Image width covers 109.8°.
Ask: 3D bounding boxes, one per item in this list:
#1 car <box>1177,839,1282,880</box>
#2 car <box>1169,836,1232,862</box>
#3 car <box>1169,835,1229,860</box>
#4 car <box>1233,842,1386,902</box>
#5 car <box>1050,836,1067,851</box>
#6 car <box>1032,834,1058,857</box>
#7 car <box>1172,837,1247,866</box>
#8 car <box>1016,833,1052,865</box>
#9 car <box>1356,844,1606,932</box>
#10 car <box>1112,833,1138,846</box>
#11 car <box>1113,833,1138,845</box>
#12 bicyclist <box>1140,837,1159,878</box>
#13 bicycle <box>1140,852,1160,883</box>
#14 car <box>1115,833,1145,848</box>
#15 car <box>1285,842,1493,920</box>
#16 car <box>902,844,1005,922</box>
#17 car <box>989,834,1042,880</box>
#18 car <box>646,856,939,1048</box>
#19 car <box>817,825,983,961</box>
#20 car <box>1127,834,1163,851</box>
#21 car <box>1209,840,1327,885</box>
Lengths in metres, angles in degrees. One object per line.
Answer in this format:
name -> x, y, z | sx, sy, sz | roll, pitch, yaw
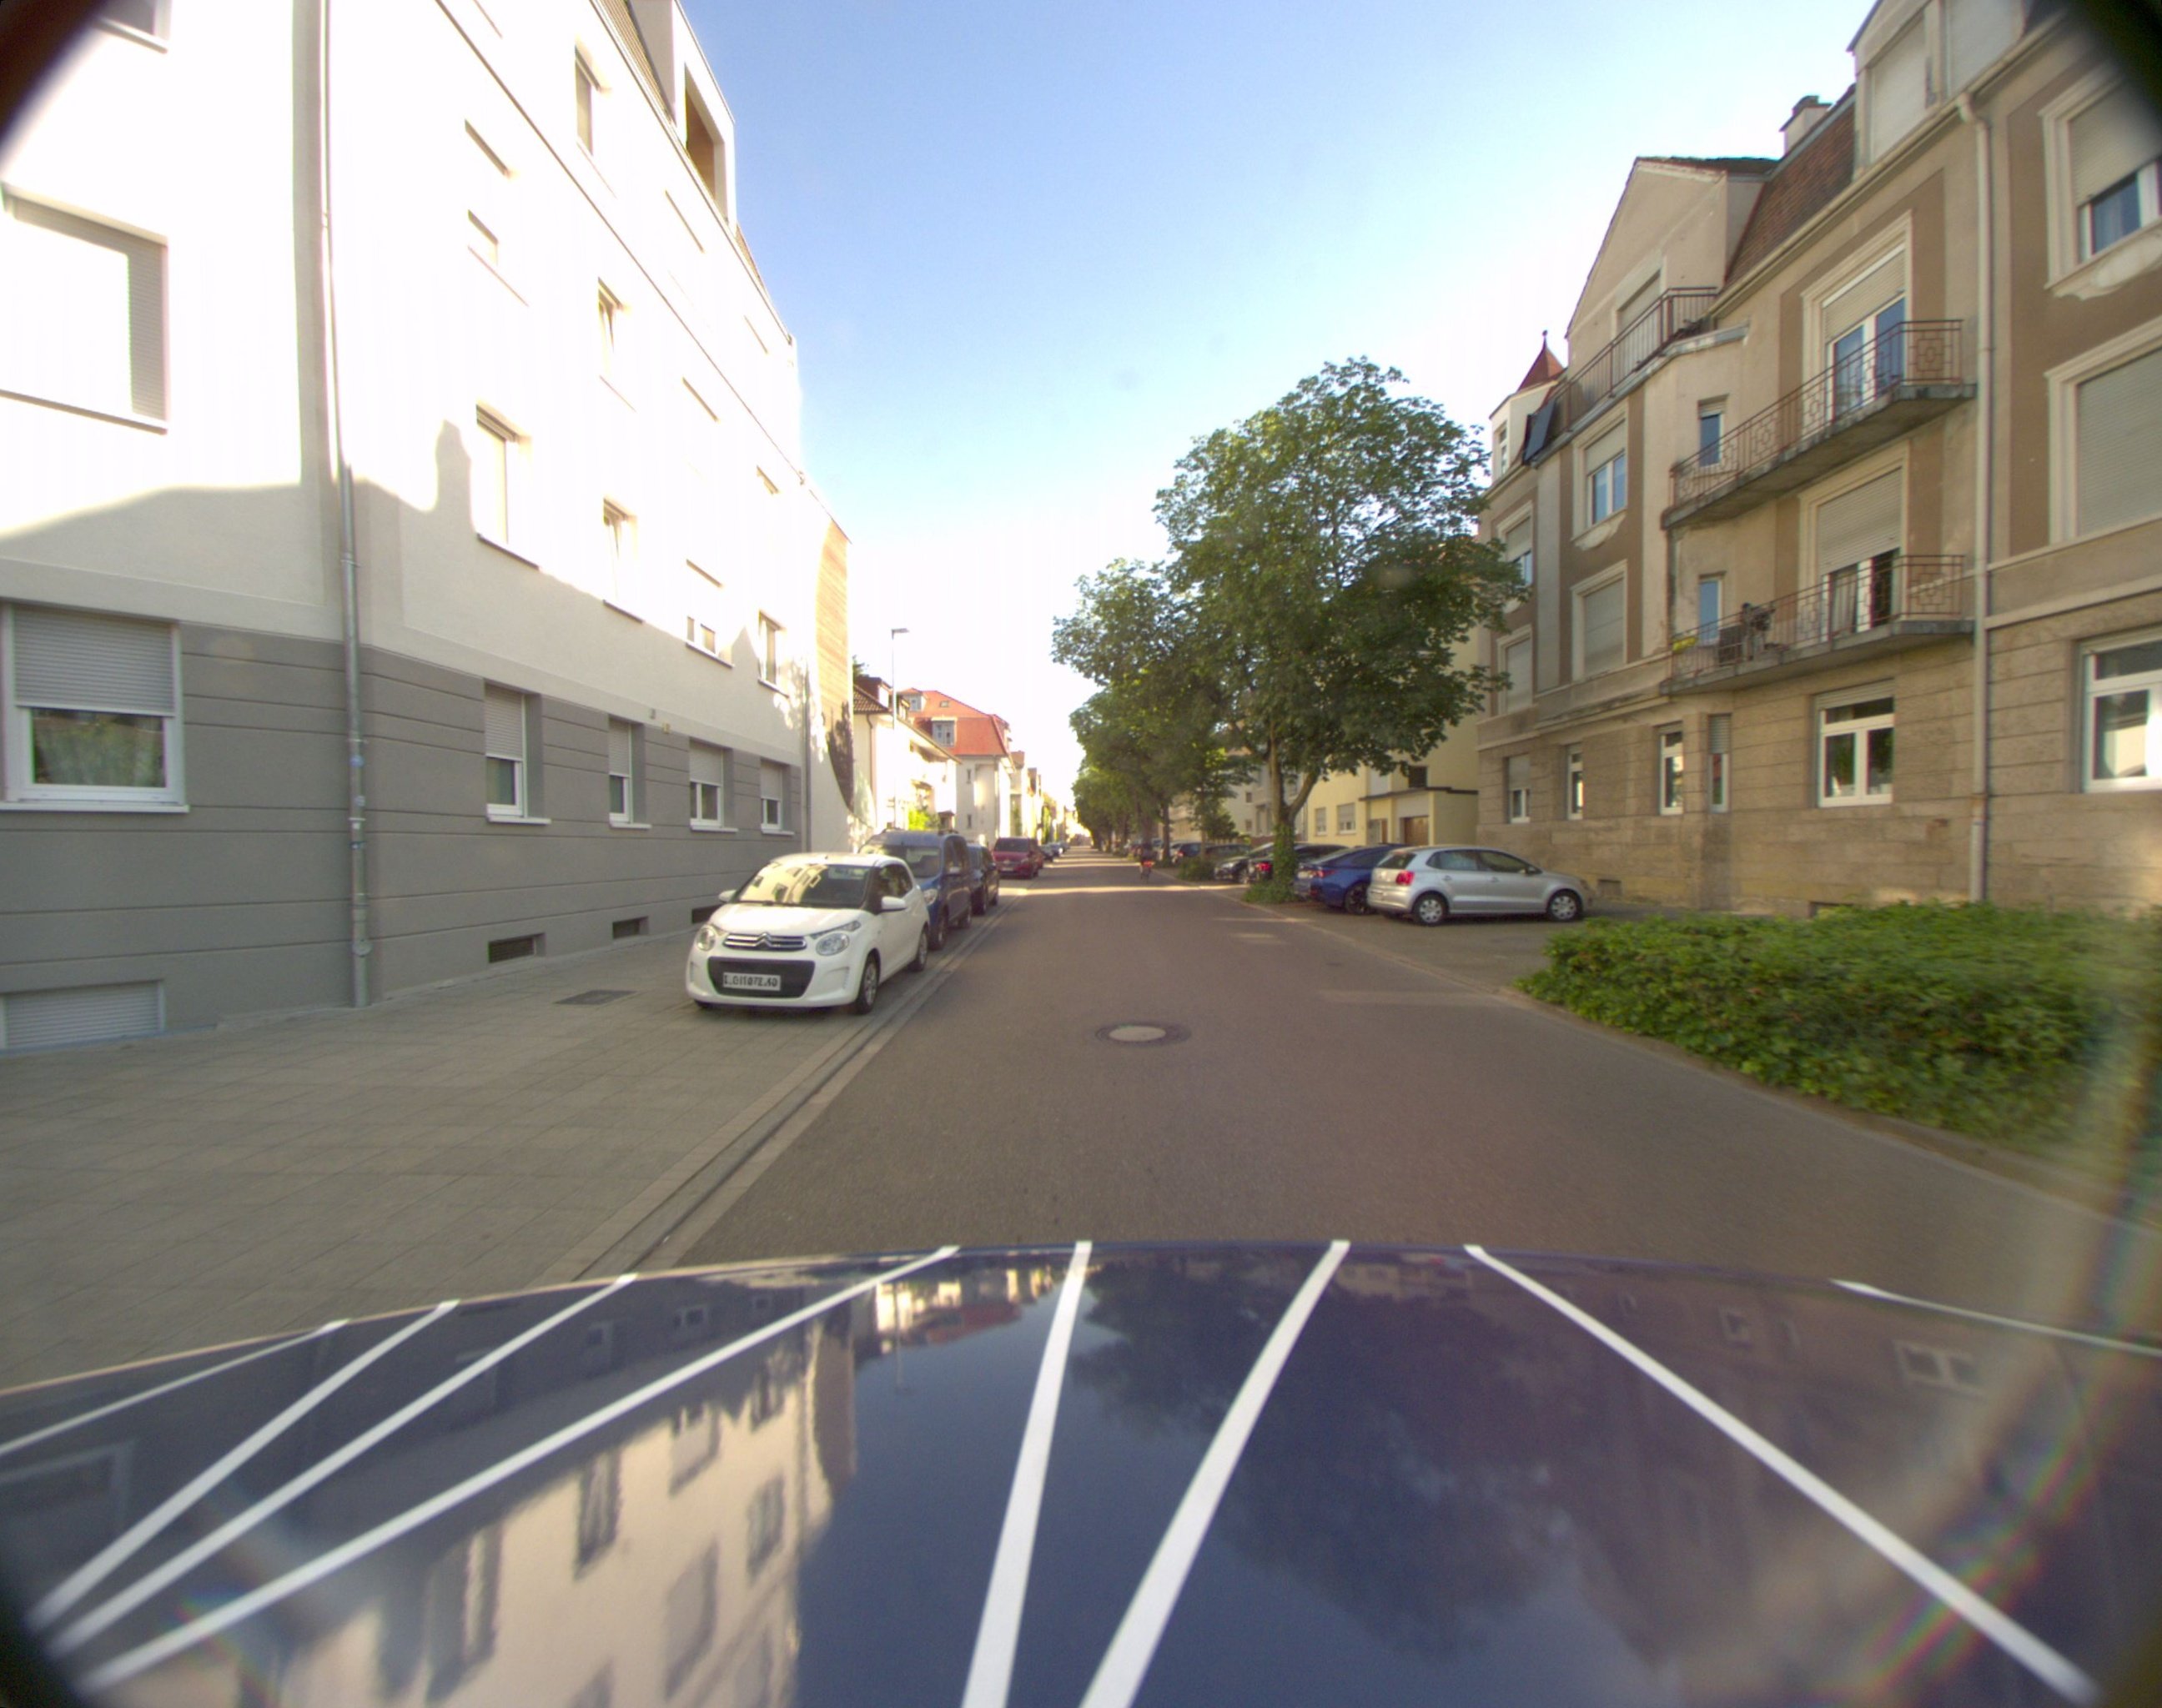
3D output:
car -> 5.972, 0.202, 30.684 | 3.792, 1.486, 1.690 | -2, 1, -13
car -> 7.327, -0.330, 46.910 | 3.529, 1.486, 1.691 | -2, 1, -5
car -> 7.681, -0.439, 49.613 | 3.529, 1.486, 1.691 | -2, 1, -5
car -> 6.416, 0.463, 21.435 | 3.792, 1.486, 1.690 | -2, 1, -13
car -> -2.677, -1.268, 90.183 | 1.884, 1.734, 4.401 | 0, 1, 0
car -> -2.973, -0.708, 63.777 | 1.884, 1.861, 4.401 | 0, 1, 0
car -> 7.101, -0.167, 42.322 | 3.790, 1.486, 1.691 | -2, 1, -5
car -> -2.965, -0.355, 48.552 | 1.884, 1.861, 4.400 | 2, 1, 0
car -> 7.338, 0.575, 14.162 | 3.789, 1.436, 1.691 | -1, 1, -3
car -> 6.185, -2.102, 107.864 | 3.528, 1.693, 1.691 | -1, 1, -2
car -> 6.539, -2.249, 112.860 | 3.528, 1.693, 1.691 | -1, 1, -2
bicyclist -> 2.629, 0.131, 29.298 | 0.644, 1.557, 1.042 | 0, 1, 1
bicycle -> 2.643, 0.492, 29.291 | 0.644, 1.102, 2.065 | 0, 1, 1
car -> 6.076, -1.674, 94.346 | 3.528, 1.693, 1.691 | -1, 1, -2
car -> 6.523, 0.529, 16.340 | 3.789, 1.486, 1.691 | -1, 1, -3
car -> -2.869, 0.584, 17.960 | 1.665, 1.533, 4.065 | 2, 1, 0
car -> -2.883, 0.091, 34.341 | 1.884, 1.861, 4.400 | 2, 1, 0
car -> -2.725, 0.814, 8.096 | 1.665, 1.440, 3.687 | 2, 1, 0
car -> -2.796, 0.510, 12.679 | 1.665, 1.825, 4.256 | 2, 1, 0
car -> 6.613, -1.177, 79.049 | 3.528, 1.693, 1.691 | -1, 1, -2
car -> 6.758, 0.277, 27.632 | 3.792, 1.486, 1.690 | -2, 1, -13
